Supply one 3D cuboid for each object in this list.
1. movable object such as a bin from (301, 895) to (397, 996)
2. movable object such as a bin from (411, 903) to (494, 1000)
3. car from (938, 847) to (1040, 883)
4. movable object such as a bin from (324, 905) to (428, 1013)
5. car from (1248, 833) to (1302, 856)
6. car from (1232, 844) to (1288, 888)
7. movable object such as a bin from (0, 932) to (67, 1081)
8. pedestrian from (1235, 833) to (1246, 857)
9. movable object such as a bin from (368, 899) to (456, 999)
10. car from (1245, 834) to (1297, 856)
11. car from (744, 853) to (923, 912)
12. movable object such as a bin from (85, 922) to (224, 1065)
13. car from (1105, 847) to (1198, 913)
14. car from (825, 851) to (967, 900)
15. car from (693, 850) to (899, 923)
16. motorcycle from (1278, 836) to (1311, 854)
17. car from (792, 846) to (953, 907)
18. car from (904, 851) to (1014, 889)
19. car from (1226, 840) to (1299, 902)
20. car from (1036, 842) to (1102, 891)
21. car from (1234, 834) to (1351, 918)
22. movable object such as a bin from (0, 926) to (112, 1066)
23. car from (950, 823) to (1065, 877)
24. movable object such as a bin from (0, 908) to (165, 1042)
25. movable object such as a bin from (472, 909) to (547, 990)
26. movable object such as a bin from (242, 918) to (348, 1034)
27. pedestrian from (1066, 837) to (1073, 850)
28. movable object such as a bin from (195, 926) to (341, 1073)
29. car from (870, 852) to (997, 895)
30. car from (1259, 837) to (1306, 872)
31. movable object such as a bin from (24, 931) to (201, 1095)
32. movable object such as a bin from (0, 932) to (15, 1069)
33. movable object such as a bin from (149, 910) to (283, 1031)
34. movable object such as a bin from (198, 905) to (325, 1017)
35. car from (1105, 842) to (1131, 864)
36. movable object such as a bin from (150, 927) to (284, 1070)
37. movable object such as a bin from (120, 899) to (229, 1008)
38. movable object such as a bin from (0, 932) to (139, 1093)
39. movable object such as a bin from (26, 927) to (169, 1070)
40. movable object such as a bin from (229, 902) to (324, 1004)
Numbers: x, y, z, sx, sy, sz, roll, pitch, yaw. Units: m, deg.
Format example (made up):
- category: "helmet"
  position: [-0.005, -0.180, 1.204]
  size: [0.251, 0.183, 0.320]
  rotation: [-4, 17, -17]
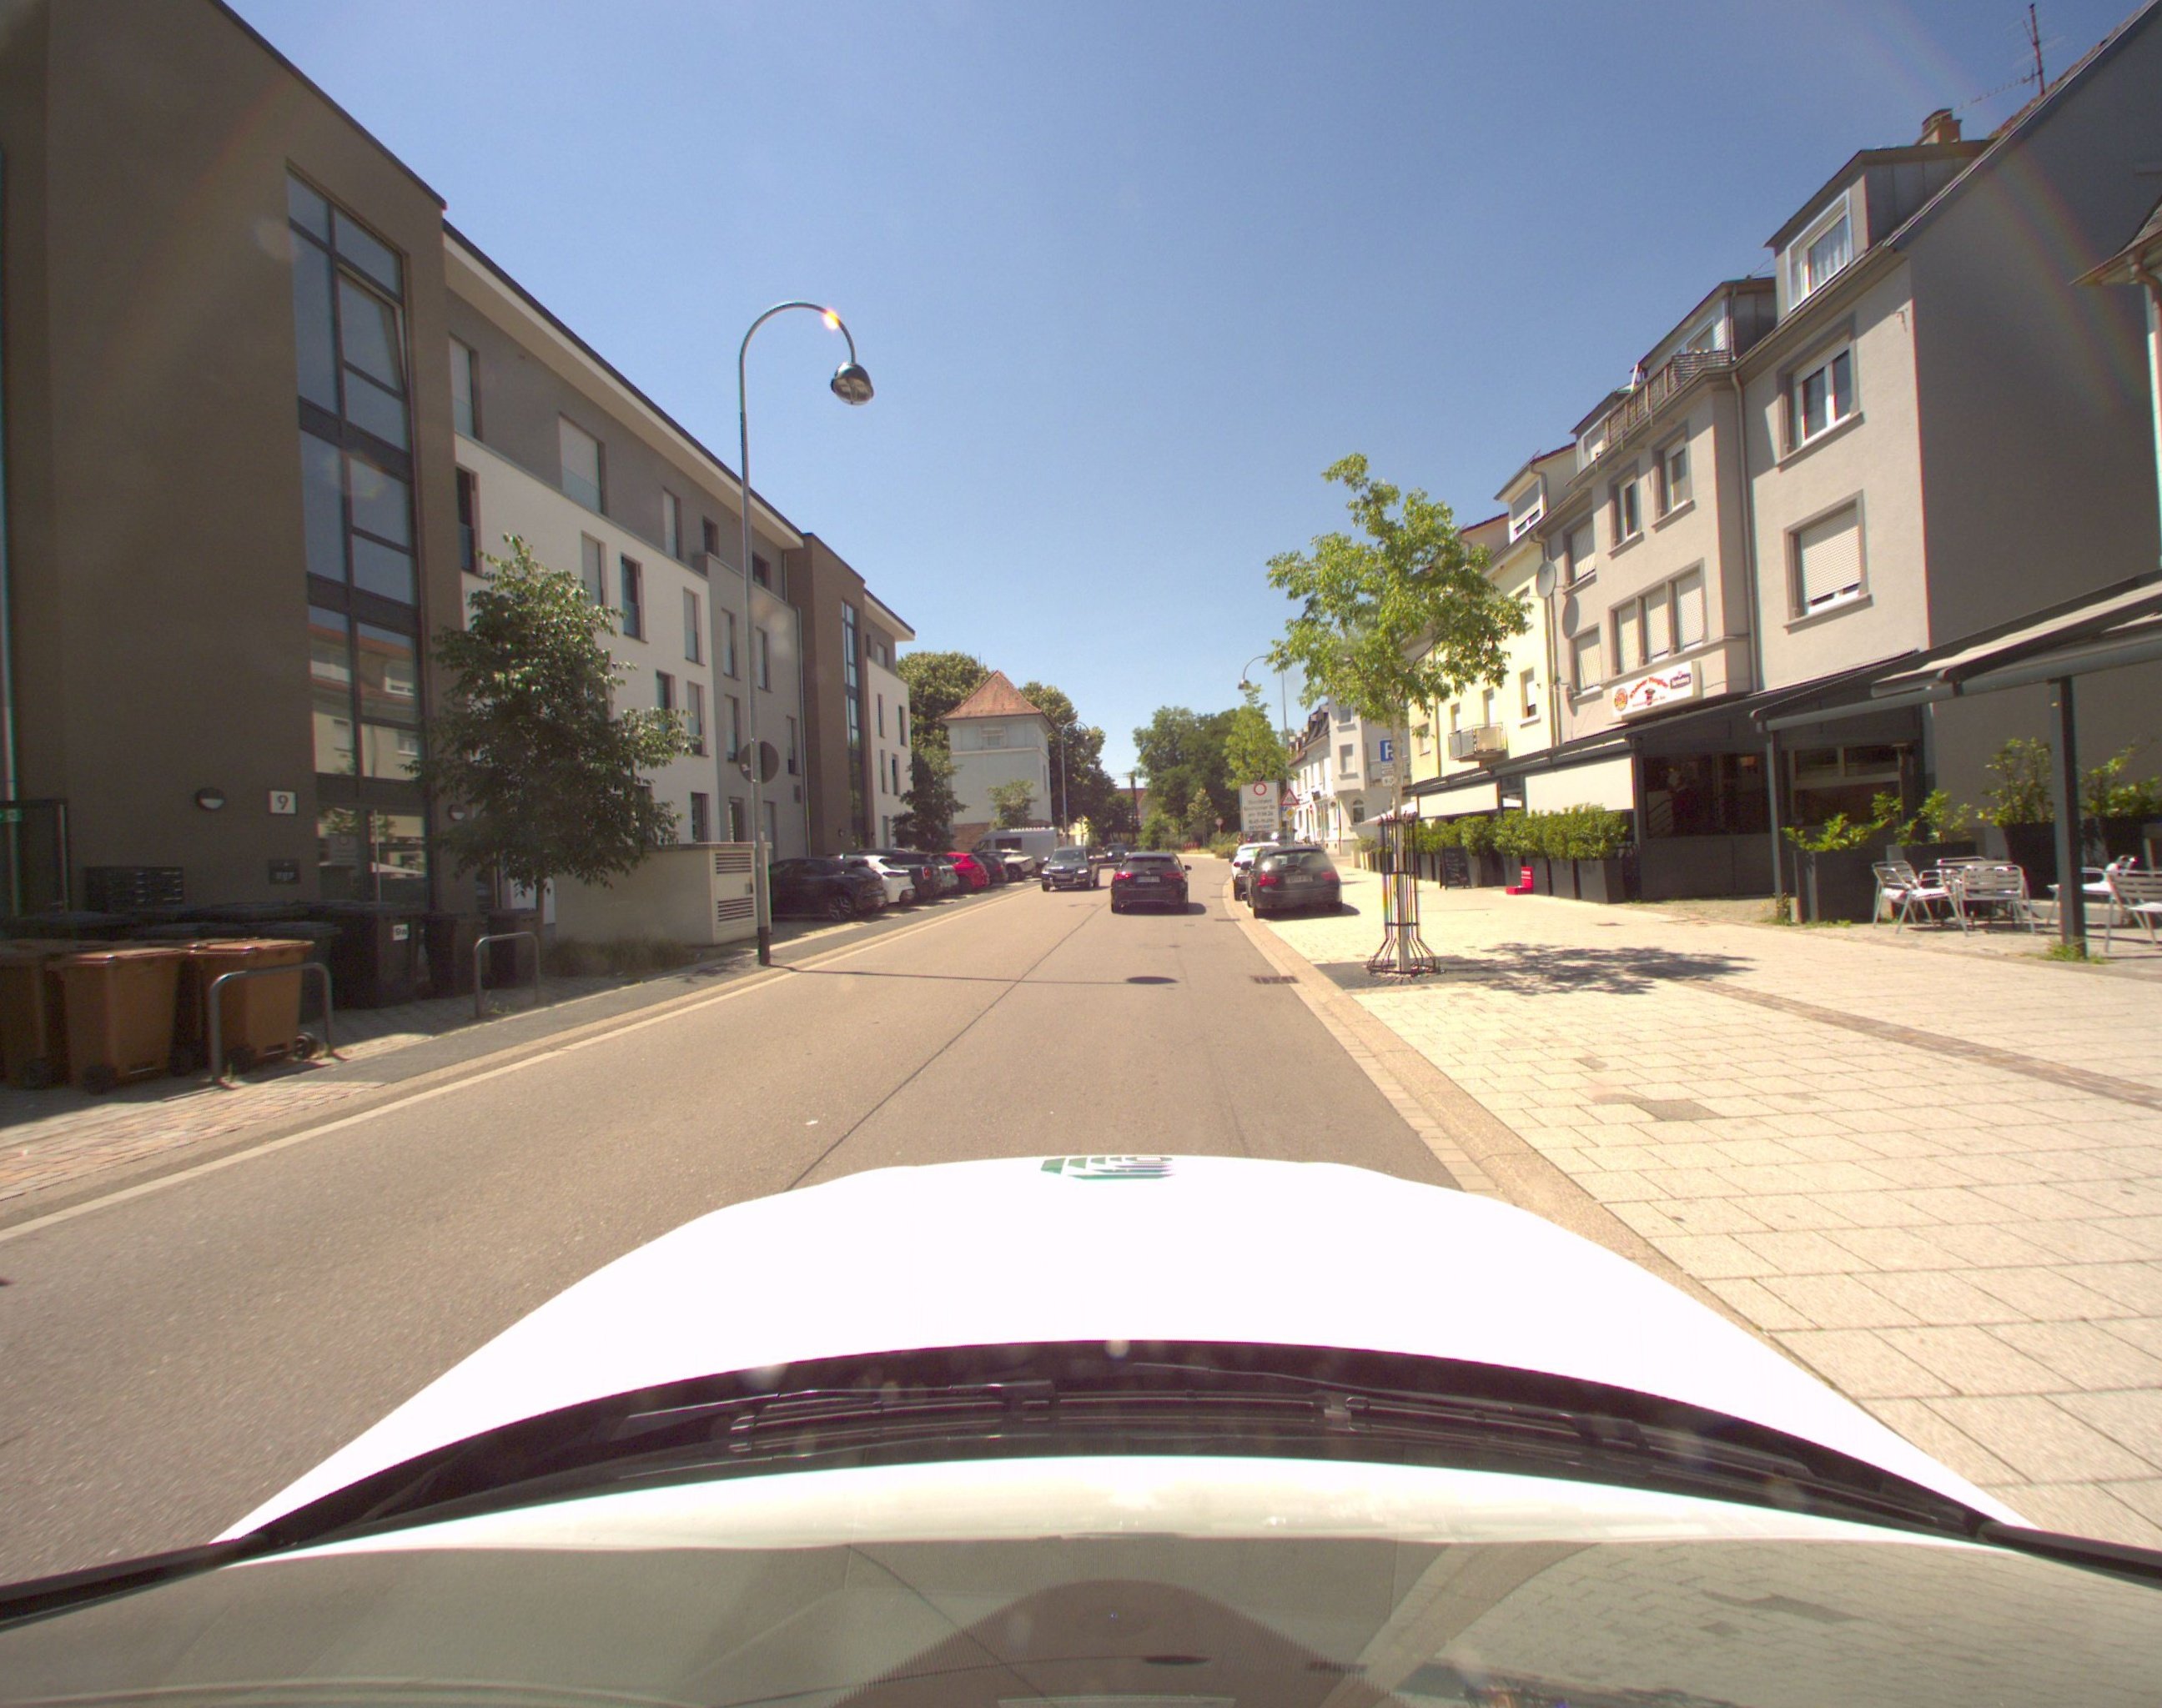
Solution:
- category: "movable object such as a bin"
  position: [-8.163, 1.003, 9.104]
  size: [0.576, 1.039, 0.548]
  rotation: [-2, 0, -12]
- category: "movable object such as a bin"
  position: [-6.945, 1.068, 9.007]
  size: [0.551, 0.998, 0.428]
  rotation: [-2, 0, 7]
- category: "car"
  position: [-4.333, 0.499, 38.708]
  size: [4.432, 1.591, 2.003]
  rotation: [-1, 0, 5]
- category: "movable object such as a bin"
  position: [-7.302, 1.072, 8.460]
  size: [0.552, 1.020, 0.560]
  rotation: [-2, 0, 1]
- category: "car"
  position: [15.931, -0.766, 66.936]
  size: [4.057, 1.716, 1.858]
  rotation: [-1, 0, 4]
- category: "car"
  position: [6.519, 0.392, 29.994]
  size: [1.714, 1.405, 4.622]
  rotation: [-4, 0, 10]
- category: "movable object such as a bin"
  position: [-7.694, 1.082, 5.734]
  size: [0.422, 0.998, 0.524]
  rotation: [-2, 0, 5]
- category: "pedestrian"
  position: [12.203, -0.675, 62.381]
  size: [0.740, 1.796, 0.847]
  rotation: [-2, 2, 13]
- category: "movable object such as a bin"
  position: [-7.590, 1.060, 9.260]
  size: [0.554, 1.039, 0.543]
  rotation: [-2, 0, -12]
- category: "car"
  position: [16.066, -0.761, 68.981]
  size: [4.057, 1.716, 1.858]
  rotation: [-1, 0, 4]
- category: "car"
  position: [-6.329, 0.709, 21.125]
  size: [3.967, 1.421, 1.913]
  rotation: [-1, 0, 6]
- category: "movable object such as a bin"
  position: [-7.148, 1.055, 6.302]
  size: [0.401, 0.998, 0.556]
  rotation: [-2, 0, 4]
- category: "car"
  position: [1.838, 0.607, 20.148]
  size: [1.816, 1.442, 4.012]
  rotation: [-1, -1, 11]
- category: "car"
  position: [-5.943, 0.676, 26.454]
  size: [4.010, 1.496, 2.004]
  rotation: [-1, 0, 7]
- category: "car"
  position: [-6.513, 0.721, 18.886]
  size: [3.967, 1.515, 2.004]
  rotation: [-1, 1, 6]
- category: "motorcycle"
  position: [16.544, -0.712, 63.115]
  size: [2.365, 1.275, 0.857]
  rotation: [-2, 1, 5]
- category: "car"
  position: [-5.977, 0.625, 23.628]
  size: [4.010, 1.651, 2.004]
  rotation: [-1, 0, 7]
- category: "car"
  position: [-4.974, 0.632, 33.530]
  size: [4.184, 1.437, 1.886]
  rotation: [-1, 0, 1]
- category: "car"
  position: [5.100, 0.429, 23.140]
  size: [1.726, 1.486, 4.067]
  rotation: [-5, -1, 11]
- category: "car"
  position: [-0.385, 0.448, 30.696]
  size: [1.800, 1.701, 4.086]
  rotation: [-1, 0, 8]
- category: "car"
  position: [4.420, 0.442, 17.594]
  size: [1.823, 1.482, 4.103]
  rotation: [-4, -1, 7]
- category: "movable object such as a bin"
  position: [-8.170, 1.097, 6.402]
  size: [0.401, 0.998, 0.556]
  rotation: [-2, 0, 4]
- category: "car"
  position: [-3.883, -0.189, 43.592]
  size: [5.737, 2.732, 2.296]
  rotation: [-1, 0, 6]
- category: "movable object such as a bin"
  position: [-9.189, 1.084, 7.516]
  size: [0.692, 1.095, 0.645]
  rotation: [-2, 0, -12]
- category: "movable object such as a bin"
  position: [-6.731, 1.115, 9.608]
  size: [0.554, 0.868, 0.480]
  rotation: [-2, 0, -12]
- category: "movable object such as a bin"
  position: [-7.384, 1.131, 7.668]
  size: [0.554, 0.998, 0.403]
  rotation: [-3, 0, -8]
- category: "pedestrian"
  position: [-1.581, -1.484, 113.041]
  size: [0.666, 1.741, 0.694]
  rotation: [-2, -1, -37]
- category: "movable object such as a bin"
  position: [-6.184, 1.087, 6.219]
  size: [0.481, 0.998, 0.588]
  rotation: [-2, 0, 4]
- category: "car"
  position: [-5.200, 0.663, 29.070]
  size: [4.010, 1.430, 2.004]
  rotation: [-1, 0, 7]
- category: "car"
  position: [10.169, -0.002, 40.914]
  size: [1.856, 1.491, 3.881]
  rotation: [-4, 1, 19]
- category: "movable object such as a bin"
  position: [-6.651, 1.070, 5.617]
  size: [0.481, 0.998, 0.588]
  rotation: [-2, 0, 2]
- category: "movable object such as a bin"
  position: [-8.208, 1.087, 5.808]
  size: [0.481, 0.998, 0.527]
  rotation: [-2, 0, 2]
- category: "movable object such as a bin"
  position: [-8.191, 1.081, 7.740]
  size: [0.620, 1.039, 0.580]
  rotation: [-2, 0, -12]
- category: "movable object such as a bin"
  position: [-8.445, 1.079, 8.422]
  size: [0.676, 1.039, 0.602]
  rotation: [-2, 0, -12]
- category: "car"
  position: [2.892, -0.102, 63.941]
  size: [1.886, 1.553, 4.801]
  rotation: [-1, 1, 2]
- category: "movable object such as a bin"
  position: [-6.668, 1.094, 6.305]
  size: [0.401, 0.998, 0.556]
  rotation: [-2, 0, 4]
- category: "movable object such as a bin"
  position: [-9.364, 1.008, 8.430]
  size: [0.554, 1.039, 0.480]
  rotation: [-2, 0, -12]
- category: "movable object such as a bin"
  position: [-7.158, 1.075, 5.670]
  size: [0.481, 0.998, 0.588]
  rotation: [-2, 0, 4]
- category: "movable object such as a bin"
  position: [-7.594, 1.096, 6.306]
  size: [0.401, 0.998, 0.556]
  rotation: [-2, 0, 4]
- category: "movable object such as a bin"
  position: [-8.920, 1.083, 9.046]
  size: [0.554, 1.039, 0.480]
  rotation: [-2, 0, -12]
